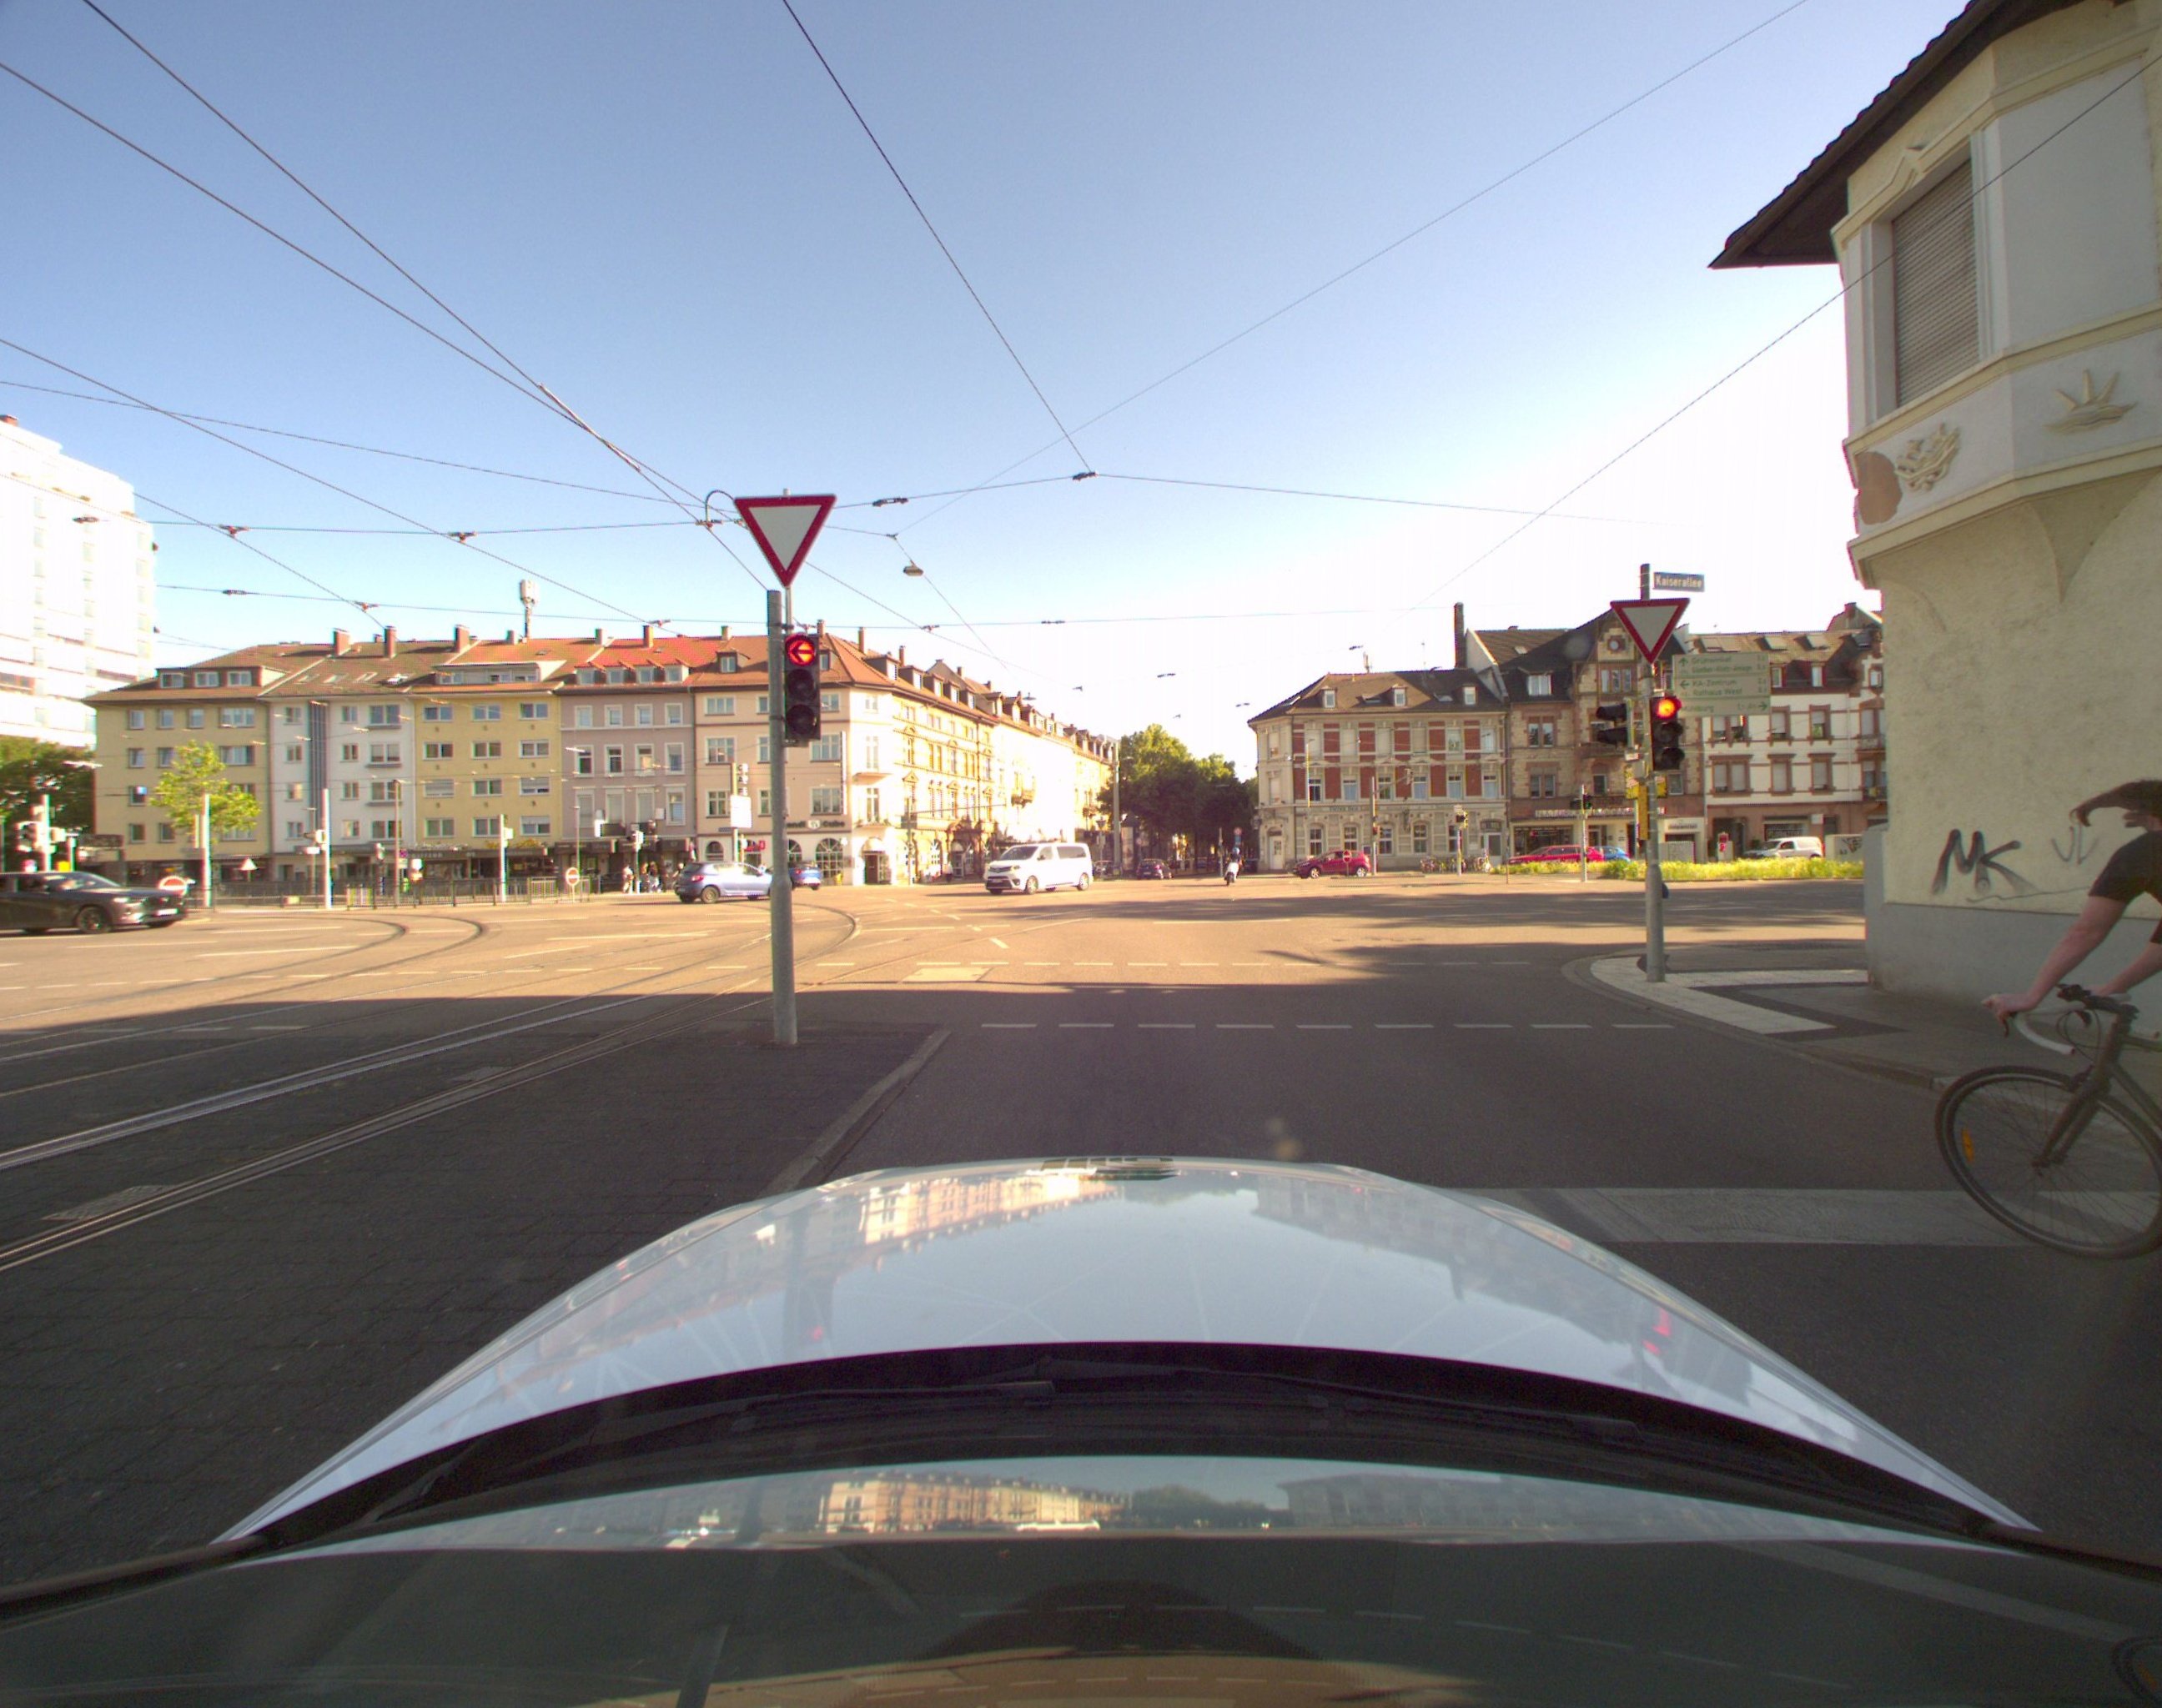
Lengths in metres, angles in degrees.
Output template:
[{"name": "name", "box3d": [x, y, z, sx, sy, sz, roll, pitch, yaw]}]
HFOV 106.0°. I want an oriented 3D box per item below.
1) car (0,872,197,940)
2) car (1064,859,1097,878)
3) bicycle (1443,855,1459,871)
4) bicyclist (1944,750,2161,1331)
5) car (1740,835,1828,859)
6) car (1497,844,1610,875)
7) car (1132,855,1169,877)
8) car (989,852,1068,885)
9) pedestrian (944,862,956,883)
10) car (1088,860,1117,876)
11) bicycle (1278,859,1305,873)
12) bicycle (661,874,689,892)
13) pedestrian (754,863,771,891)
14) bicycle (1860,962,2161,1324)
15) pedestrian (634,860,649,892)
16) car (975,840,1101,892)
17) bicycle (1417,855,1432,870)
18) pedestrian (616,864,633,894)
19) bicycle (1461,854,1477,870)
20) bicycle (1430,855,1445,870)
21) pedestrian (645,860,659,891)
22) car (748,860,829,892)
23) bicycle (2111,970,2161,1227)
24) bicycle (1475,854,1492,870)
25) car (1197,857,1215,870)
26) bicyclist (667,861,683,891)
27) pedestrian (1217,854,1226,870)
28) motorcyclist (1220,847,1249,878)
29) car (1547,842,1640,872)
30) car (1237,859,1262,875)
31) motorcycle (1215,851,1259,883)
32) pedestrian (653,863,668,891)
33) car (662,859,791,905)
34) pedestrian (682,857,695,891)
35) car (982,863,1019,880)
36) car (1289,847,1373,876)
[{"name": "car", "box3d": [-26.849, 1.371, 21.613, 4.433, 1.602, 1.871, -2, 0, -5]}, {"name": "car", "box3d": [0.012, 1.289, 73.597, 1.809, 1.685, 3.893, -1, -1, 18]}, {"name": "bicycle", "box3d": [24.047, 0.566, 52.964, 0.758, 0.983, 2.221, -1, -1, 20]}, {"name": "bicyclist", "box3d": [3.582, 0.569, 2.626, 0.587, 1.767, 0.936, 0, -1, 2]}, {"name": "car", "box3d": [45.204, -0.438, 52.429, 3.961, 1.438, 1.874, 0, -1, 5]}, {"name": "car", "box3d": [24.507, 0.258, 42.334, 4.839, 1.469, 1.805, -1, 1, 2]}, {"name": "car", "box3d": [4.726, 0.782, 54.884, 1.812, 1.403, 4.016, -1, 0, 15]}, {"name": "car", "box3d": [-2.624, 0.726, 41.840, 1.874, 1.454, 4.034, -2, 1, 36]}, {"name": "pedestrian", "box3d": [-10.268, 1.420, 63.623, 0.562, 1.642, 0.797, -1, -1, 25]}, {"name": "car", "box3d": [2.136, 1.371, 79.868, 1.788, 1.575, 3.908, -1, -1, 17]}, {"name": "bicycle", "box3d": [14.708, 0.831, 56.916, 1.789, 0.963, 0.606, -1, -1, 16]}, {"name": "bicycle", "box3d": [-23.940, 1.697, 48.041, 0.618, 1.030, 1.758, 0, -1, 7]}, {"name": "pedestrian", "box3d": [-18.543, 1.336, 47.464, 0.666, 1.594, 0.815, 0, -1, 1]}, {"name": "bicycle", "box3d": [3.586, 0.959, 2.622, 0.480, 0.991, 1.783, 0, -1, 2]}, {"name": "pedestrian", "box3d": [-23.506, 1.172, 43.542, 0.520, 1.648, 0.498, 0, -1, 1]}, {"name": "car", "box3d": [-1.544, 0.441, 31.371, 1.974, 1.854, 5.249, -2, -1, 36]}, {"name": "bicycle", "box3d": [22.487, 0.579, 53.308, 0.758, 0.963, 2.221, -1, -1, 20]}, {"name": "pedestrian", "box3d": [-25.225, 1.369, 45.050, 0.582, 1.648, 0.616, 0, -1, 1]}, {"name": "bicycle", "box3d": [25.195, 0.544, 52.888, 0.758, 1.007, 2.231, -1, -1, 20]}, {"name": "bicycle", "box3d": [23.260, 0.572, 53.088, 0.758, 0.968, 2.221, -1, -1, 20]}, {"name": "pedestrian", "box3d": [-22.944, 1.167, 43.553, 0.520, 1.648, 0.498, 0, -1, 1]}, {"name": "car", "box3d": [-15.528, 1.140, 43.232, 4.145, 1.575, 1.843, -1, 0, 32]}, {"name": "bicycle", "box3d": [4.456, 0.962, 2.442, 0.501, 0.983, 1.783, 0, -1, 2]}, {"name": "bicycle", "box3d": [26.020, 0.536, 52.675, 0.785, 1.016, 2.221, -1, -1, 20]}, {"name": "car", "box3d": [17.881, 1.349, 116.367, 1.978, 1.684, 4.018, -1, -1, 17]}, {"name": "bicyclist", "box3d": [-23.940, 1.299, 48.066, 0.618, 1.790, 0.616, 0, -1, 7]}, {"name": "pedestrian", "box3d": [17.960, 1.067, 103.787, 0.942, 2.014, 0.825, 0, -1, -4]}, {"name": "motorcyclist", "box3d": [6.553, 0.353, 34.854, 0.779, 1.300, 1.024, -1, -1, 44]}, {"name": "car", "box3d": [28.328, 0.182, 45.112, 3.970, 1.622, 1.806, 0, -1, 3]}, {"name": "car", "box3d": [17.056, 1.256, 82.262, 1.741, 1.556, 4.021, -1, -1, 22]}, {"name": "motorcycle", "box3d": [6.684, 0.546, 34.775, 0.787, 1.333, 2.155, -1, -1, 44]}, {"name": "pedestrian", "box3d": [-22.449, 1.232, 43.442, 0.489, 1.492, 0.556, 0, -1, 1]}, {"name": "car", "box3d": [-12.960, 0.991, 29.949, 1.767, 1.504, 3.944, -2, -1, 37]}, {"name": "pedestrian", "box3d": [-21.237, 1.095, 44.090, 0.528, 1.823, 0.673, 0, -1, -14]}, {"name": "car", "box3d": [-6.624, 1.415, 67.329, 1.647, 1.374, 3.909, -1, -1, 17]}, {"name": "car", "box3d": [12.894, 0.375, 42.159, 3.861, 1.426, 1.594, -1, 0, -4]}]
